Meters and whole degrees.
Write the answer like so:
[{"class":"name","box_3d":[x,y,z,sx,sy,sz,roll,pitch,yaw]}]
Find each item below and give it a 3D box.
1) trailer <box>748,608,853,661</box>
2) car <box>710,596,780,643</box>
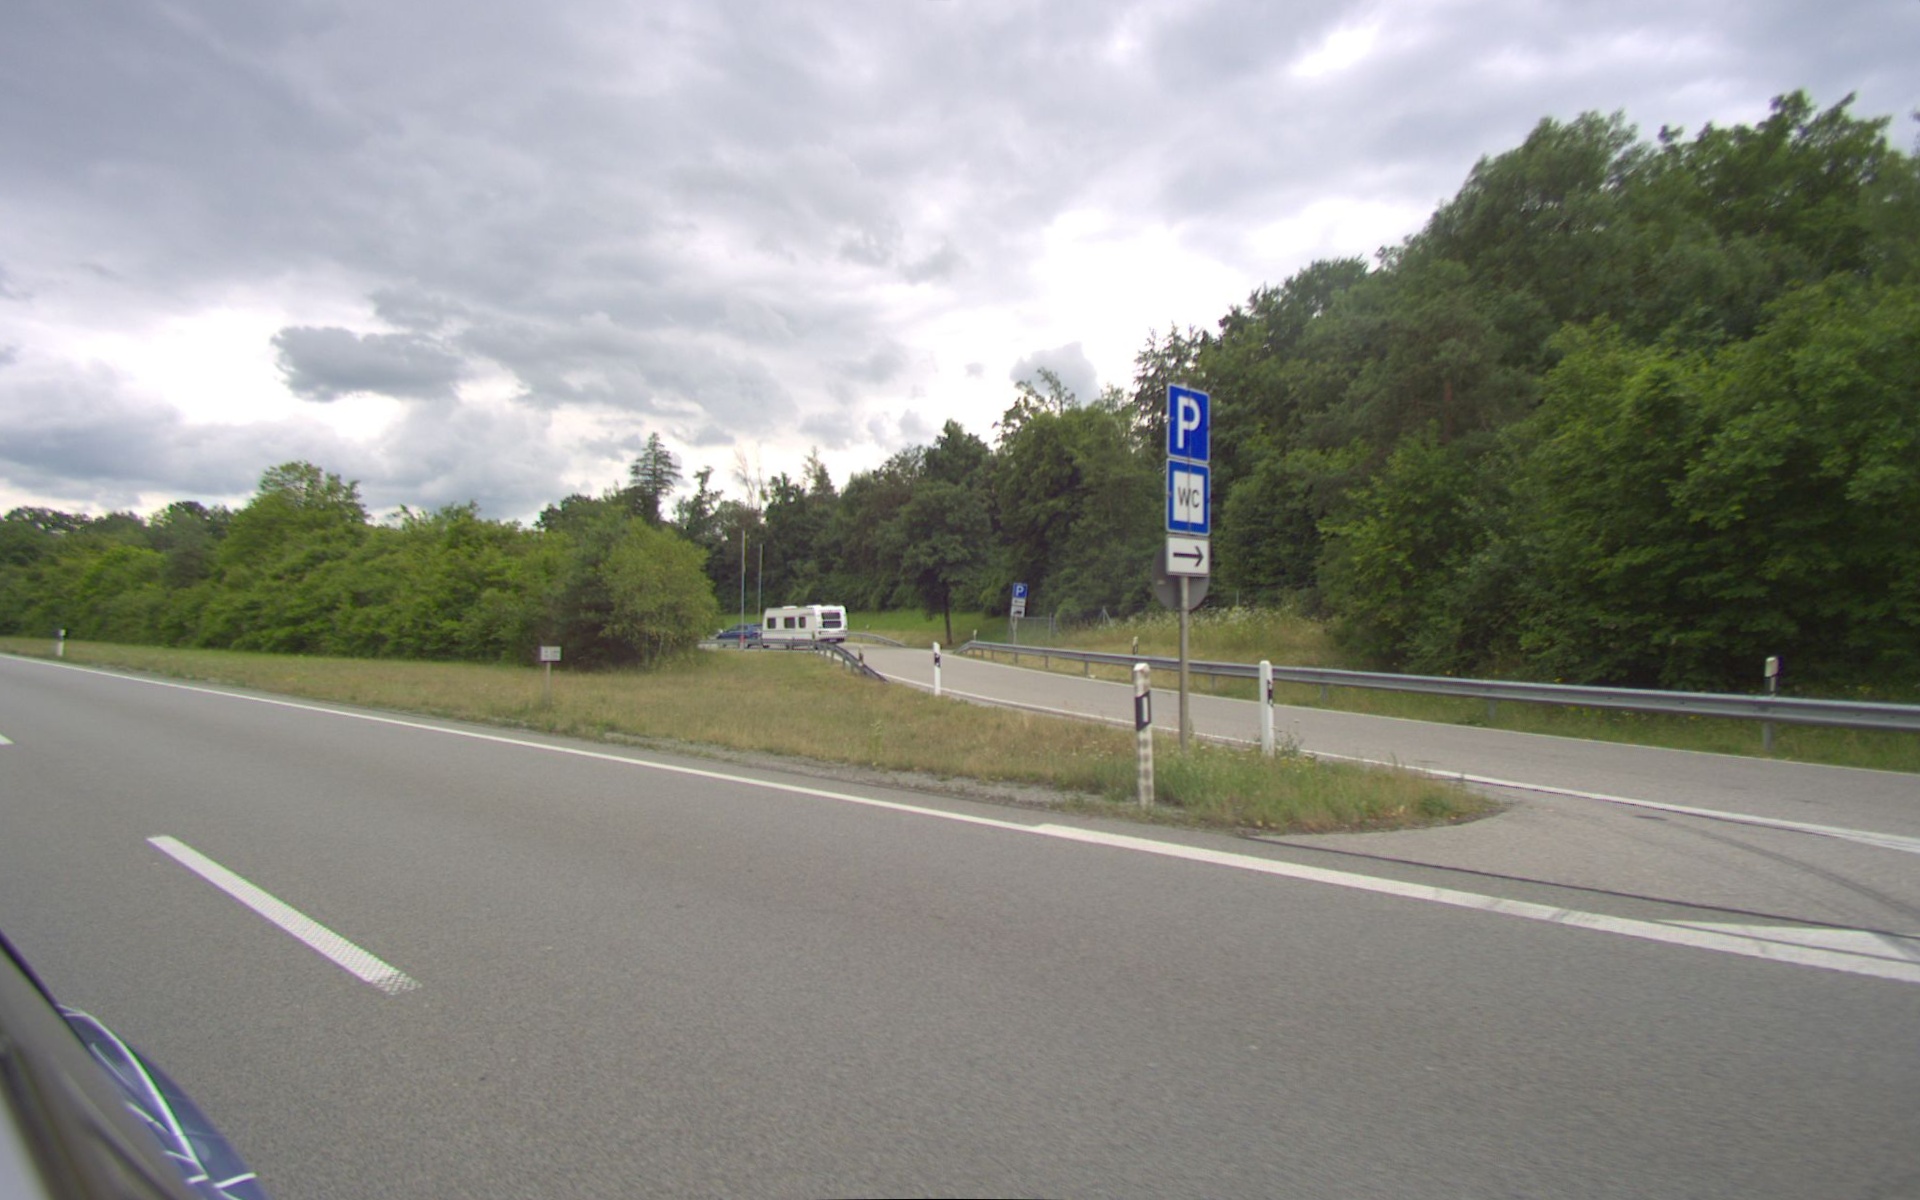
[{"class":"trailer","box_3d":[-9.823,2.049,61.586,2.451,2.987,7.398,0,-1,-44]},{"class":"car","box_3d":[-14.047,1.247,65.915,2.371,2.984,4.603,0,-1,-44]}]
